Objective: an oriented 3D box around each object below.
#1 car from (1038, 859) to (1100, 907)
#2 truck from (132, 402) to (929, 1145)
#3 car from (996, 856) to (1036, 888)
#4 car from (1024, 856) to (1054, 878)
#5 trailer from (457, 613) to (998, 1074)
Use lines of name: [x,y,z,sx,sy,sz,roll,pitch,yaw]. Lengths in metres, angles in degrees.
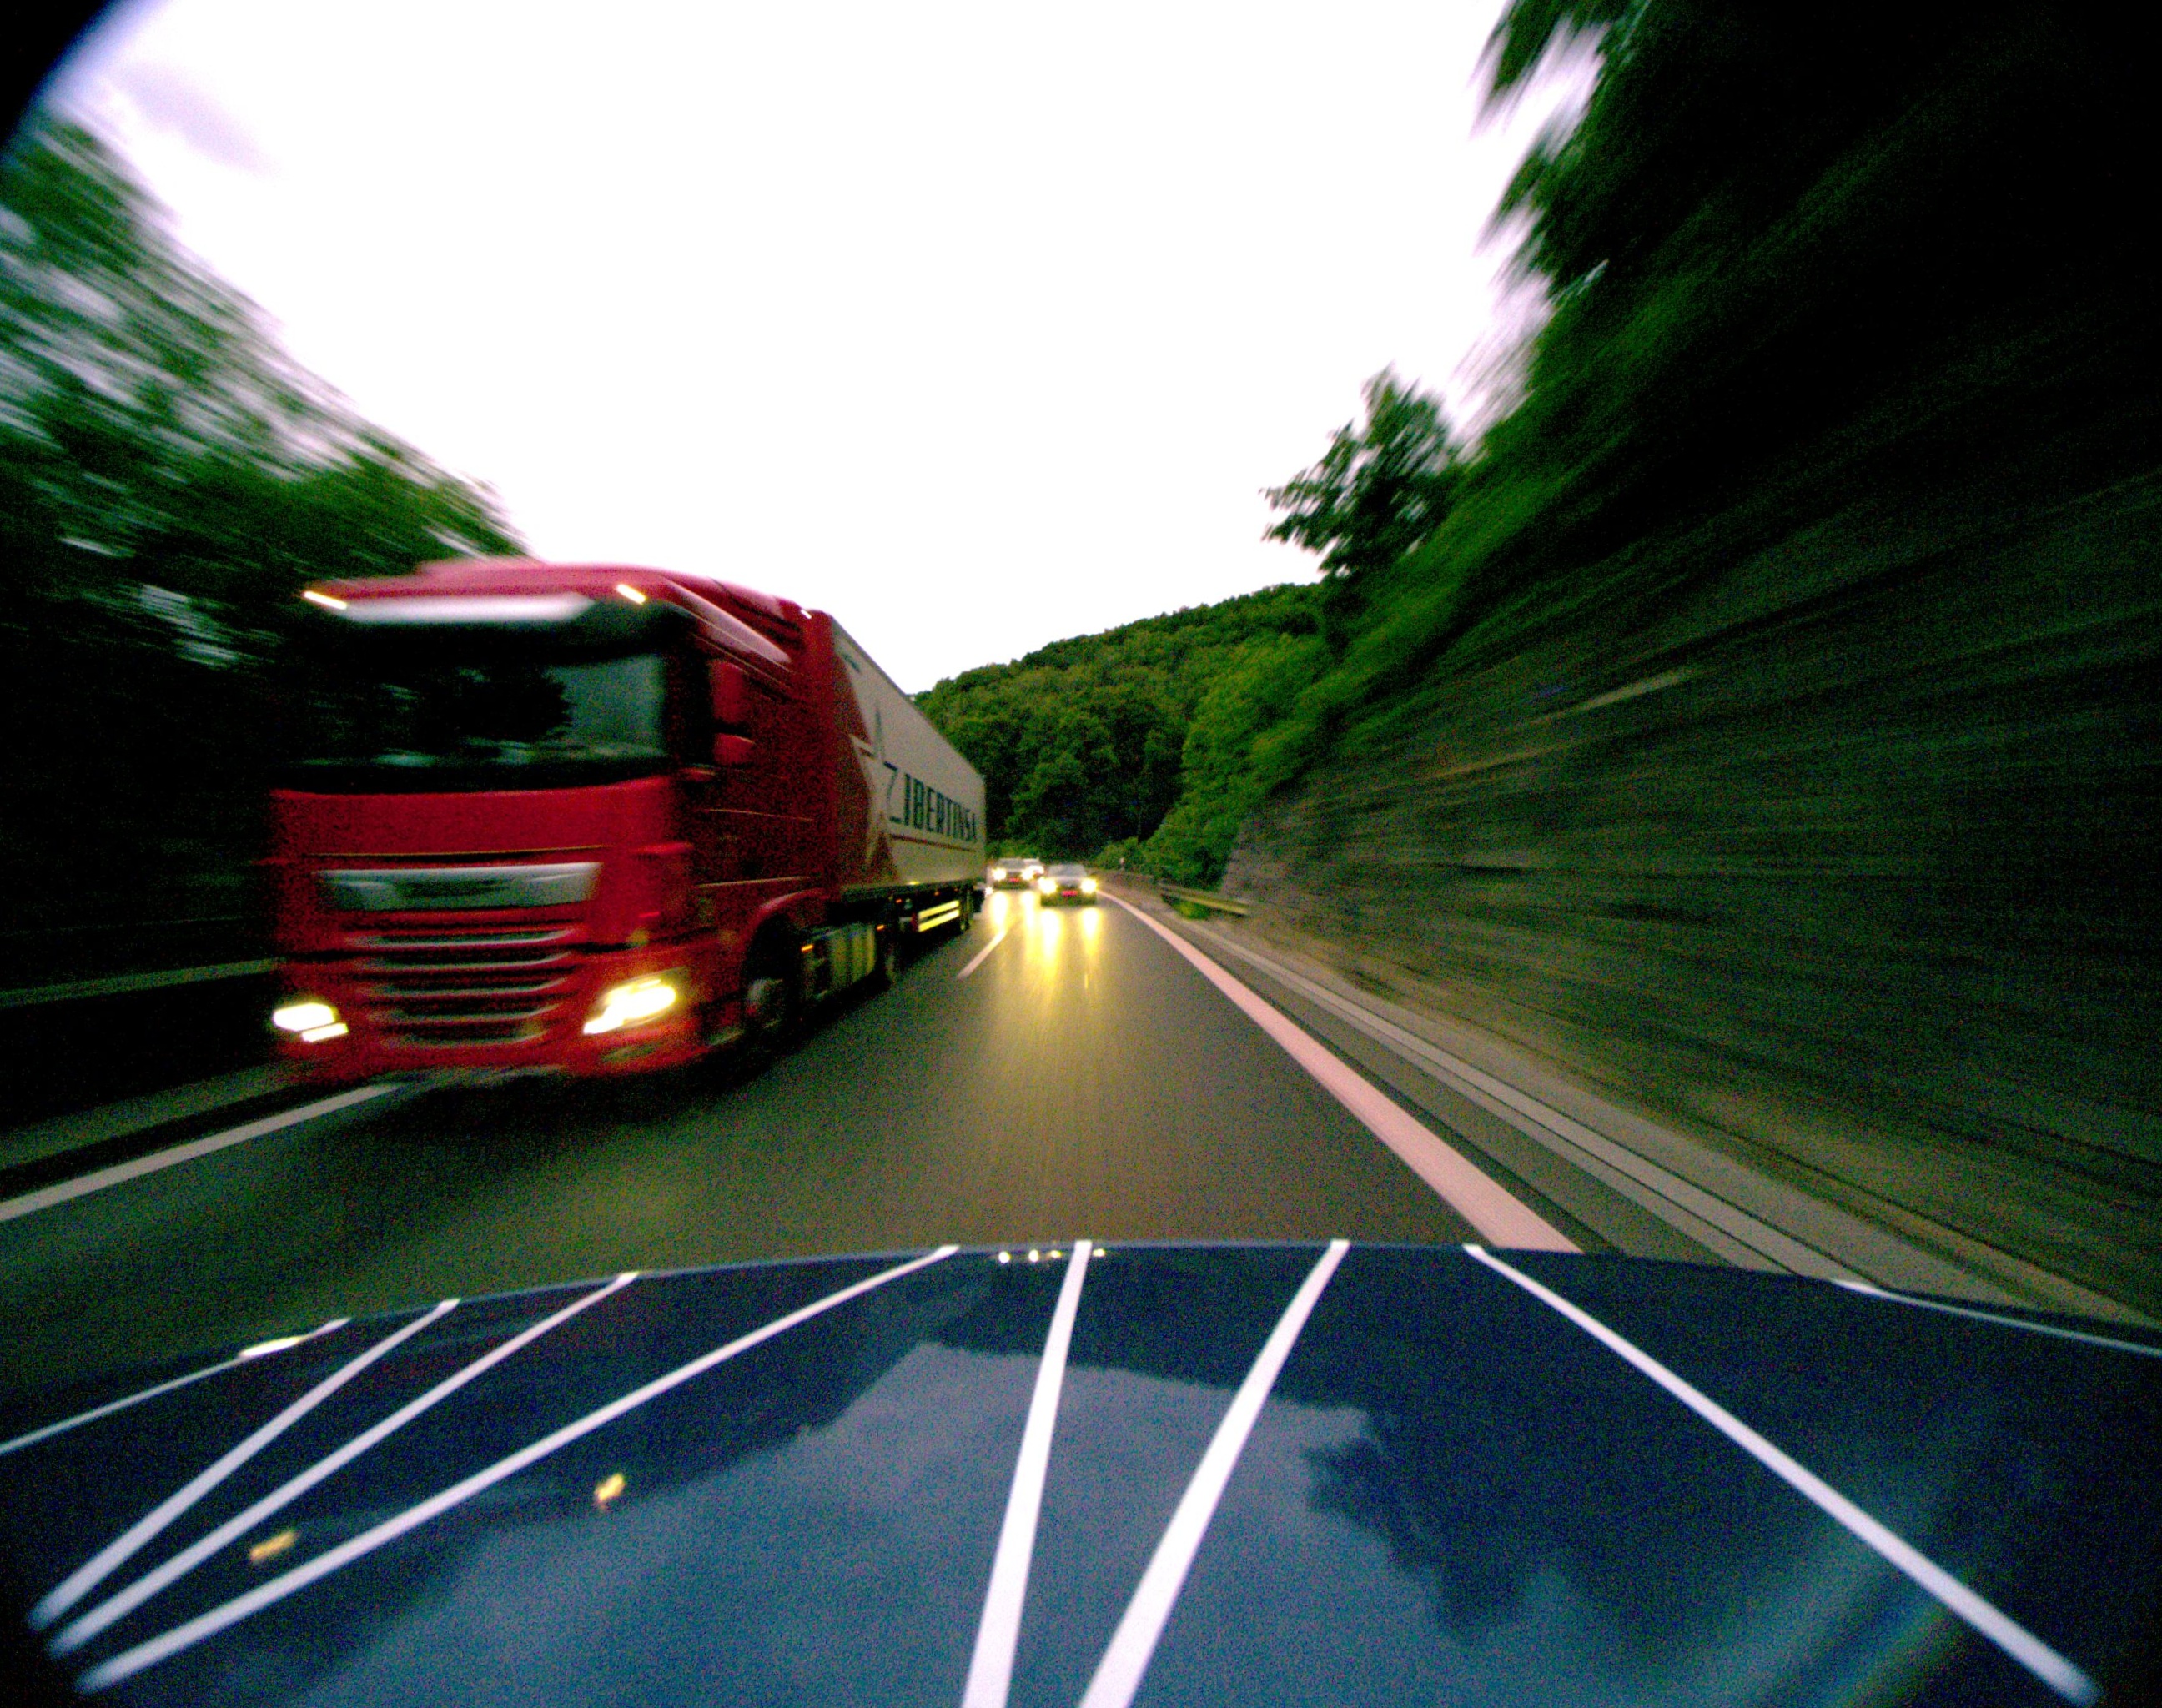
car: [-0.336,0.975,27.119,1.998,1.499,4.000,-1,1,2]
truck: [-3.767,-0.424,7.534,3.077,4.120,6.447,2,0,0]
car: [-3.599,0.943,41.489,2.000,1.630,3.997,-1,0,-8]
car: [-3.217,0.947,57.314,2.000,1.499,3.998,4,-1,-5]
trailer: [-3.920,-0.151,13.911,3.105,3.947,14.215,-4,1,0]
